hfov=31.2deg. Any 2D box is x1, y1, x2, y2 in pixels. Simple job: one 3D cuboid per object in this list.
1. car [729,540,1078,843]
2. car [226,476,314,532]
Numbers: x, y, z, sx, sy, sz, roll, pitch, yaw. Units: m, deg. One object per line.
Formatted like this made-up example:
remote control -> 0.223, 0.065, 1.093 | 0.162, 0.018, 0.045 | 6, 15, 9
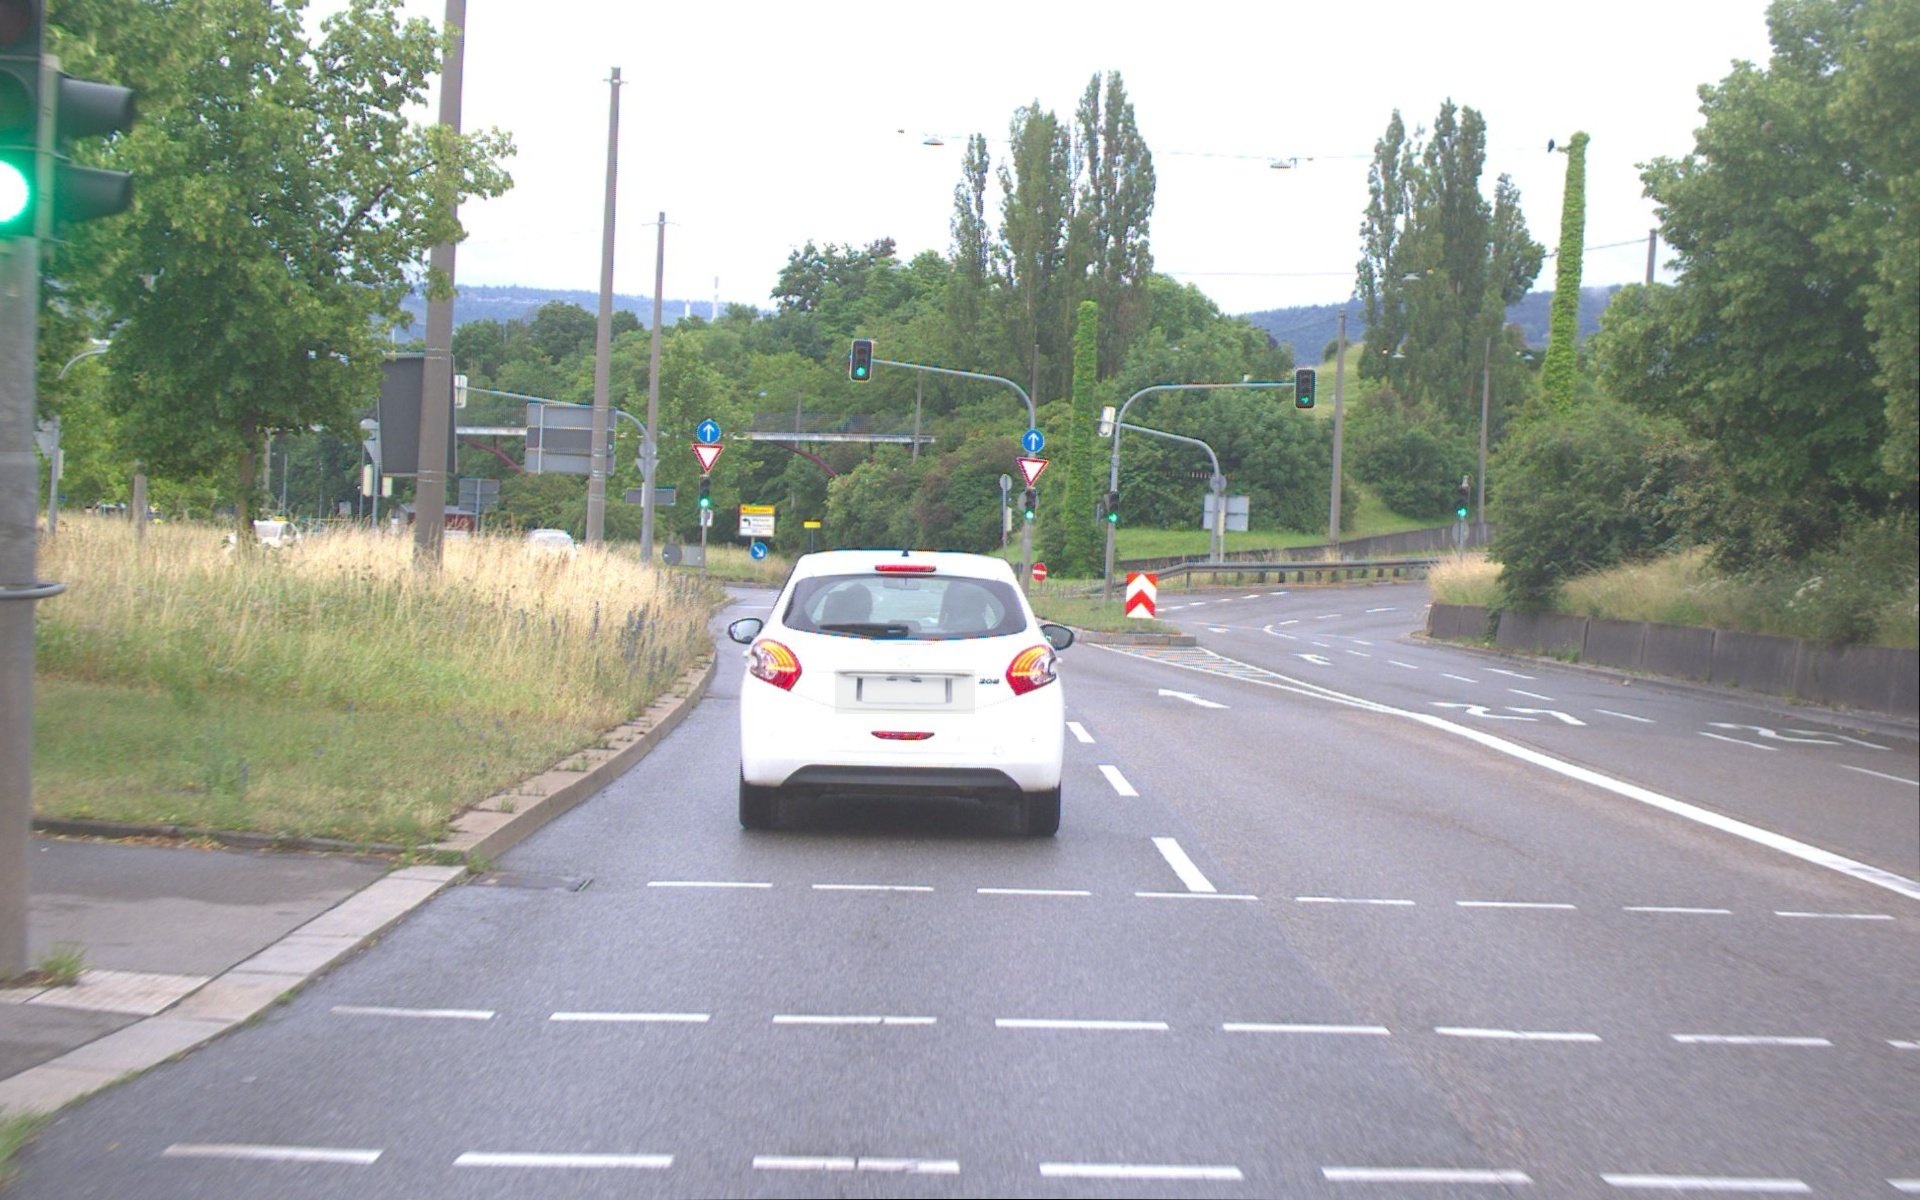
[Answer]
car -> -0.315, 0.423, 18.980 | 1.708, 1.435, 3.691 | 1, 2, -1
car -> -22.608, -3.131, 112.845 | 1.885, 1.606, 4.676 | 3, 0, 0
